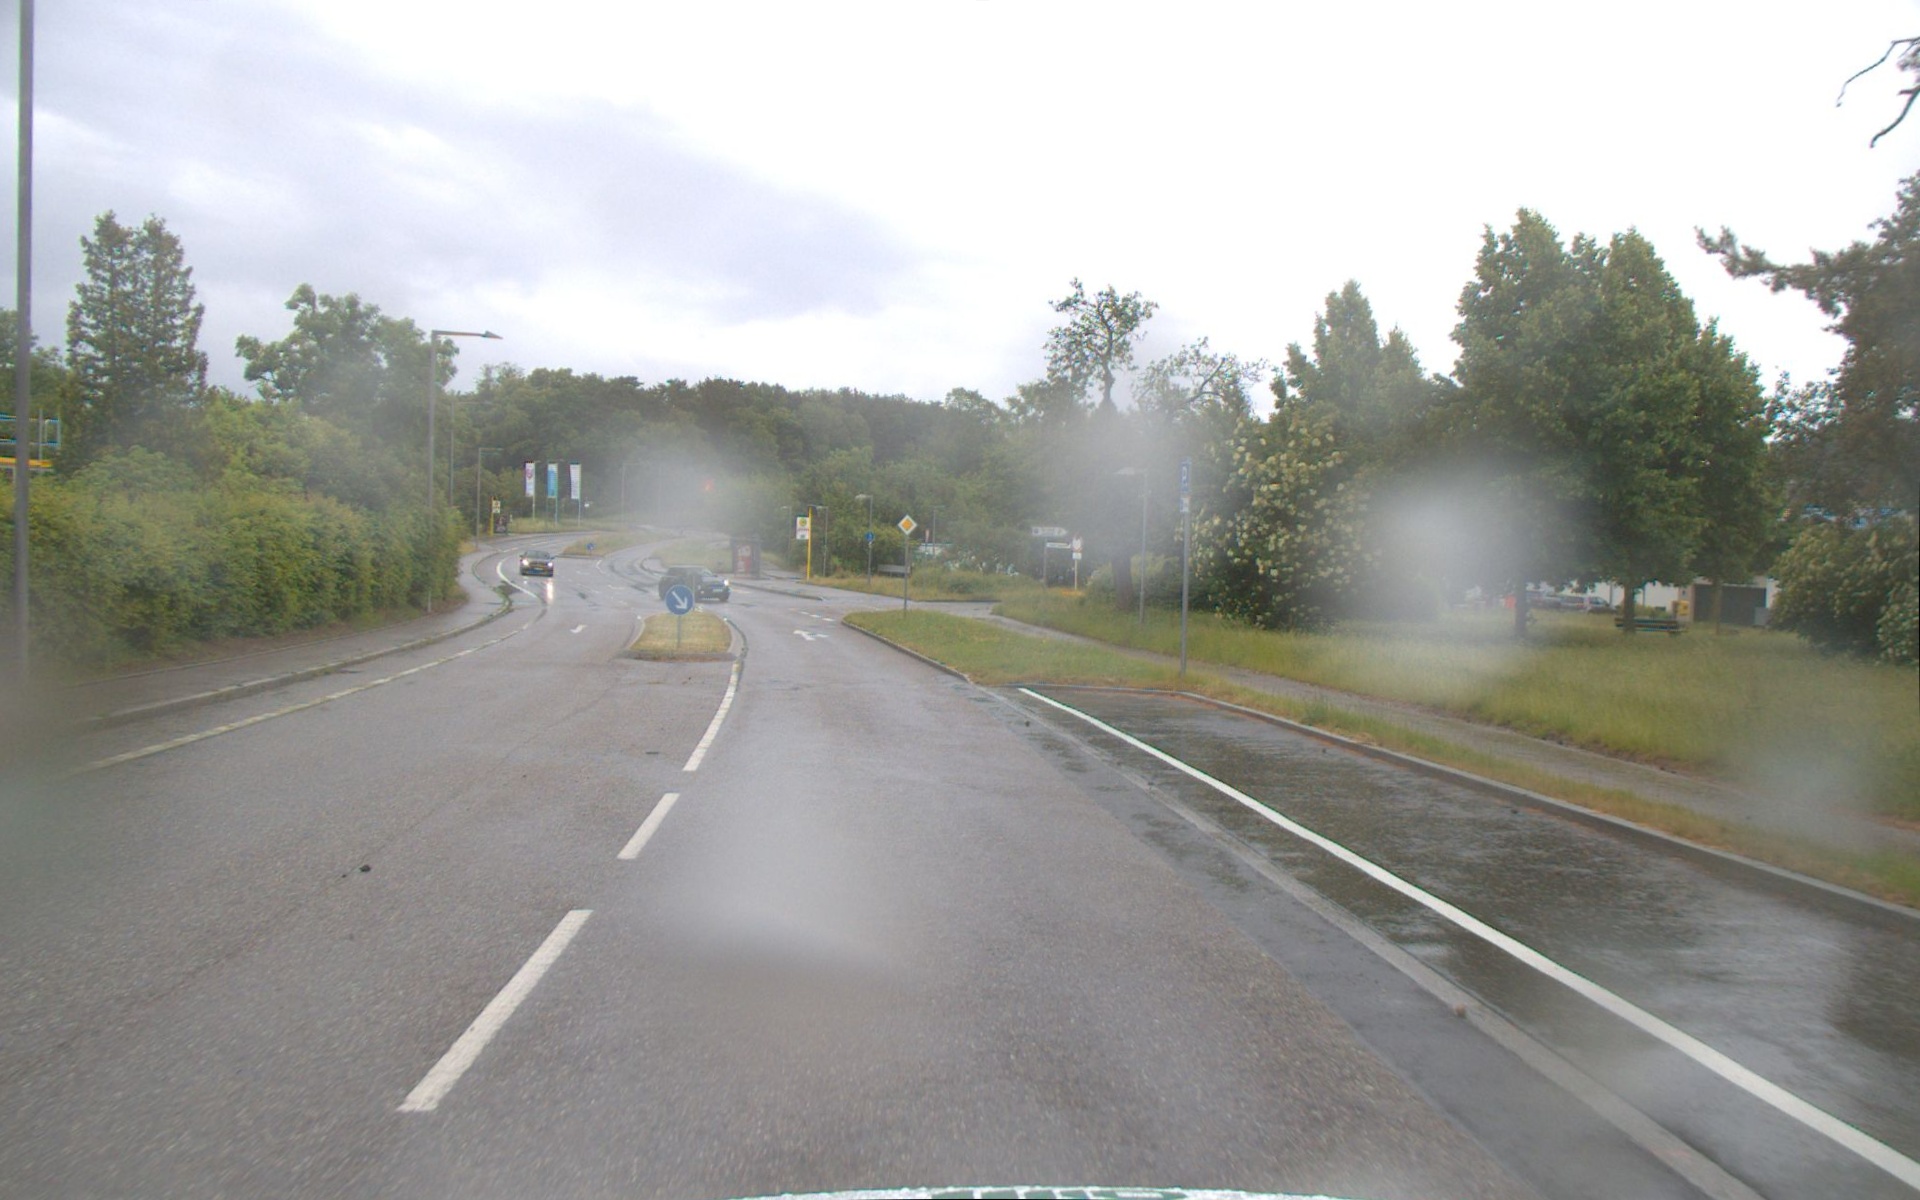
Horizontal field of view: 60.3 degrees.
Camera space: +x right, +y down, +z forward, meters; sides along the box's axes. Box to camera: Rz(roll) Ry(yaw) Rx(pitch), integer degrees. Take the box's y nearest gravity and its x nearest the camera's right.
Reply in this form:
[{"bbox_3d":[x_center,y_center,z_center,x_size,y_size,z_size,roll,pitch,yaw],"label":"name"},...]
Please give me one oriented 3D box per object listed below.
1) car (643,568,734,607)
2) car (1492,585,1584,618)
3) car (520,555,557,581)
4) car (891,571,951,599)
[{"bbox_3d":[-11.362,-0.535,69.298,3.451,1.379,1.459,4,1,22],"label":"car"},{"bbox_3d":[32.302,0.109,92.532,1.898,1.780,4.486,0,-1,-43],"label":"car"},{"bbox_3d":[-24.461,-1.861,95.958,1.936,1.438,4.396,-1,2,-16],"label":"car"},{"bbox_3d":[-2.555,-0.956,108.600,3.352,1.720,1.994,0,-3,33],"label":"car"}]
